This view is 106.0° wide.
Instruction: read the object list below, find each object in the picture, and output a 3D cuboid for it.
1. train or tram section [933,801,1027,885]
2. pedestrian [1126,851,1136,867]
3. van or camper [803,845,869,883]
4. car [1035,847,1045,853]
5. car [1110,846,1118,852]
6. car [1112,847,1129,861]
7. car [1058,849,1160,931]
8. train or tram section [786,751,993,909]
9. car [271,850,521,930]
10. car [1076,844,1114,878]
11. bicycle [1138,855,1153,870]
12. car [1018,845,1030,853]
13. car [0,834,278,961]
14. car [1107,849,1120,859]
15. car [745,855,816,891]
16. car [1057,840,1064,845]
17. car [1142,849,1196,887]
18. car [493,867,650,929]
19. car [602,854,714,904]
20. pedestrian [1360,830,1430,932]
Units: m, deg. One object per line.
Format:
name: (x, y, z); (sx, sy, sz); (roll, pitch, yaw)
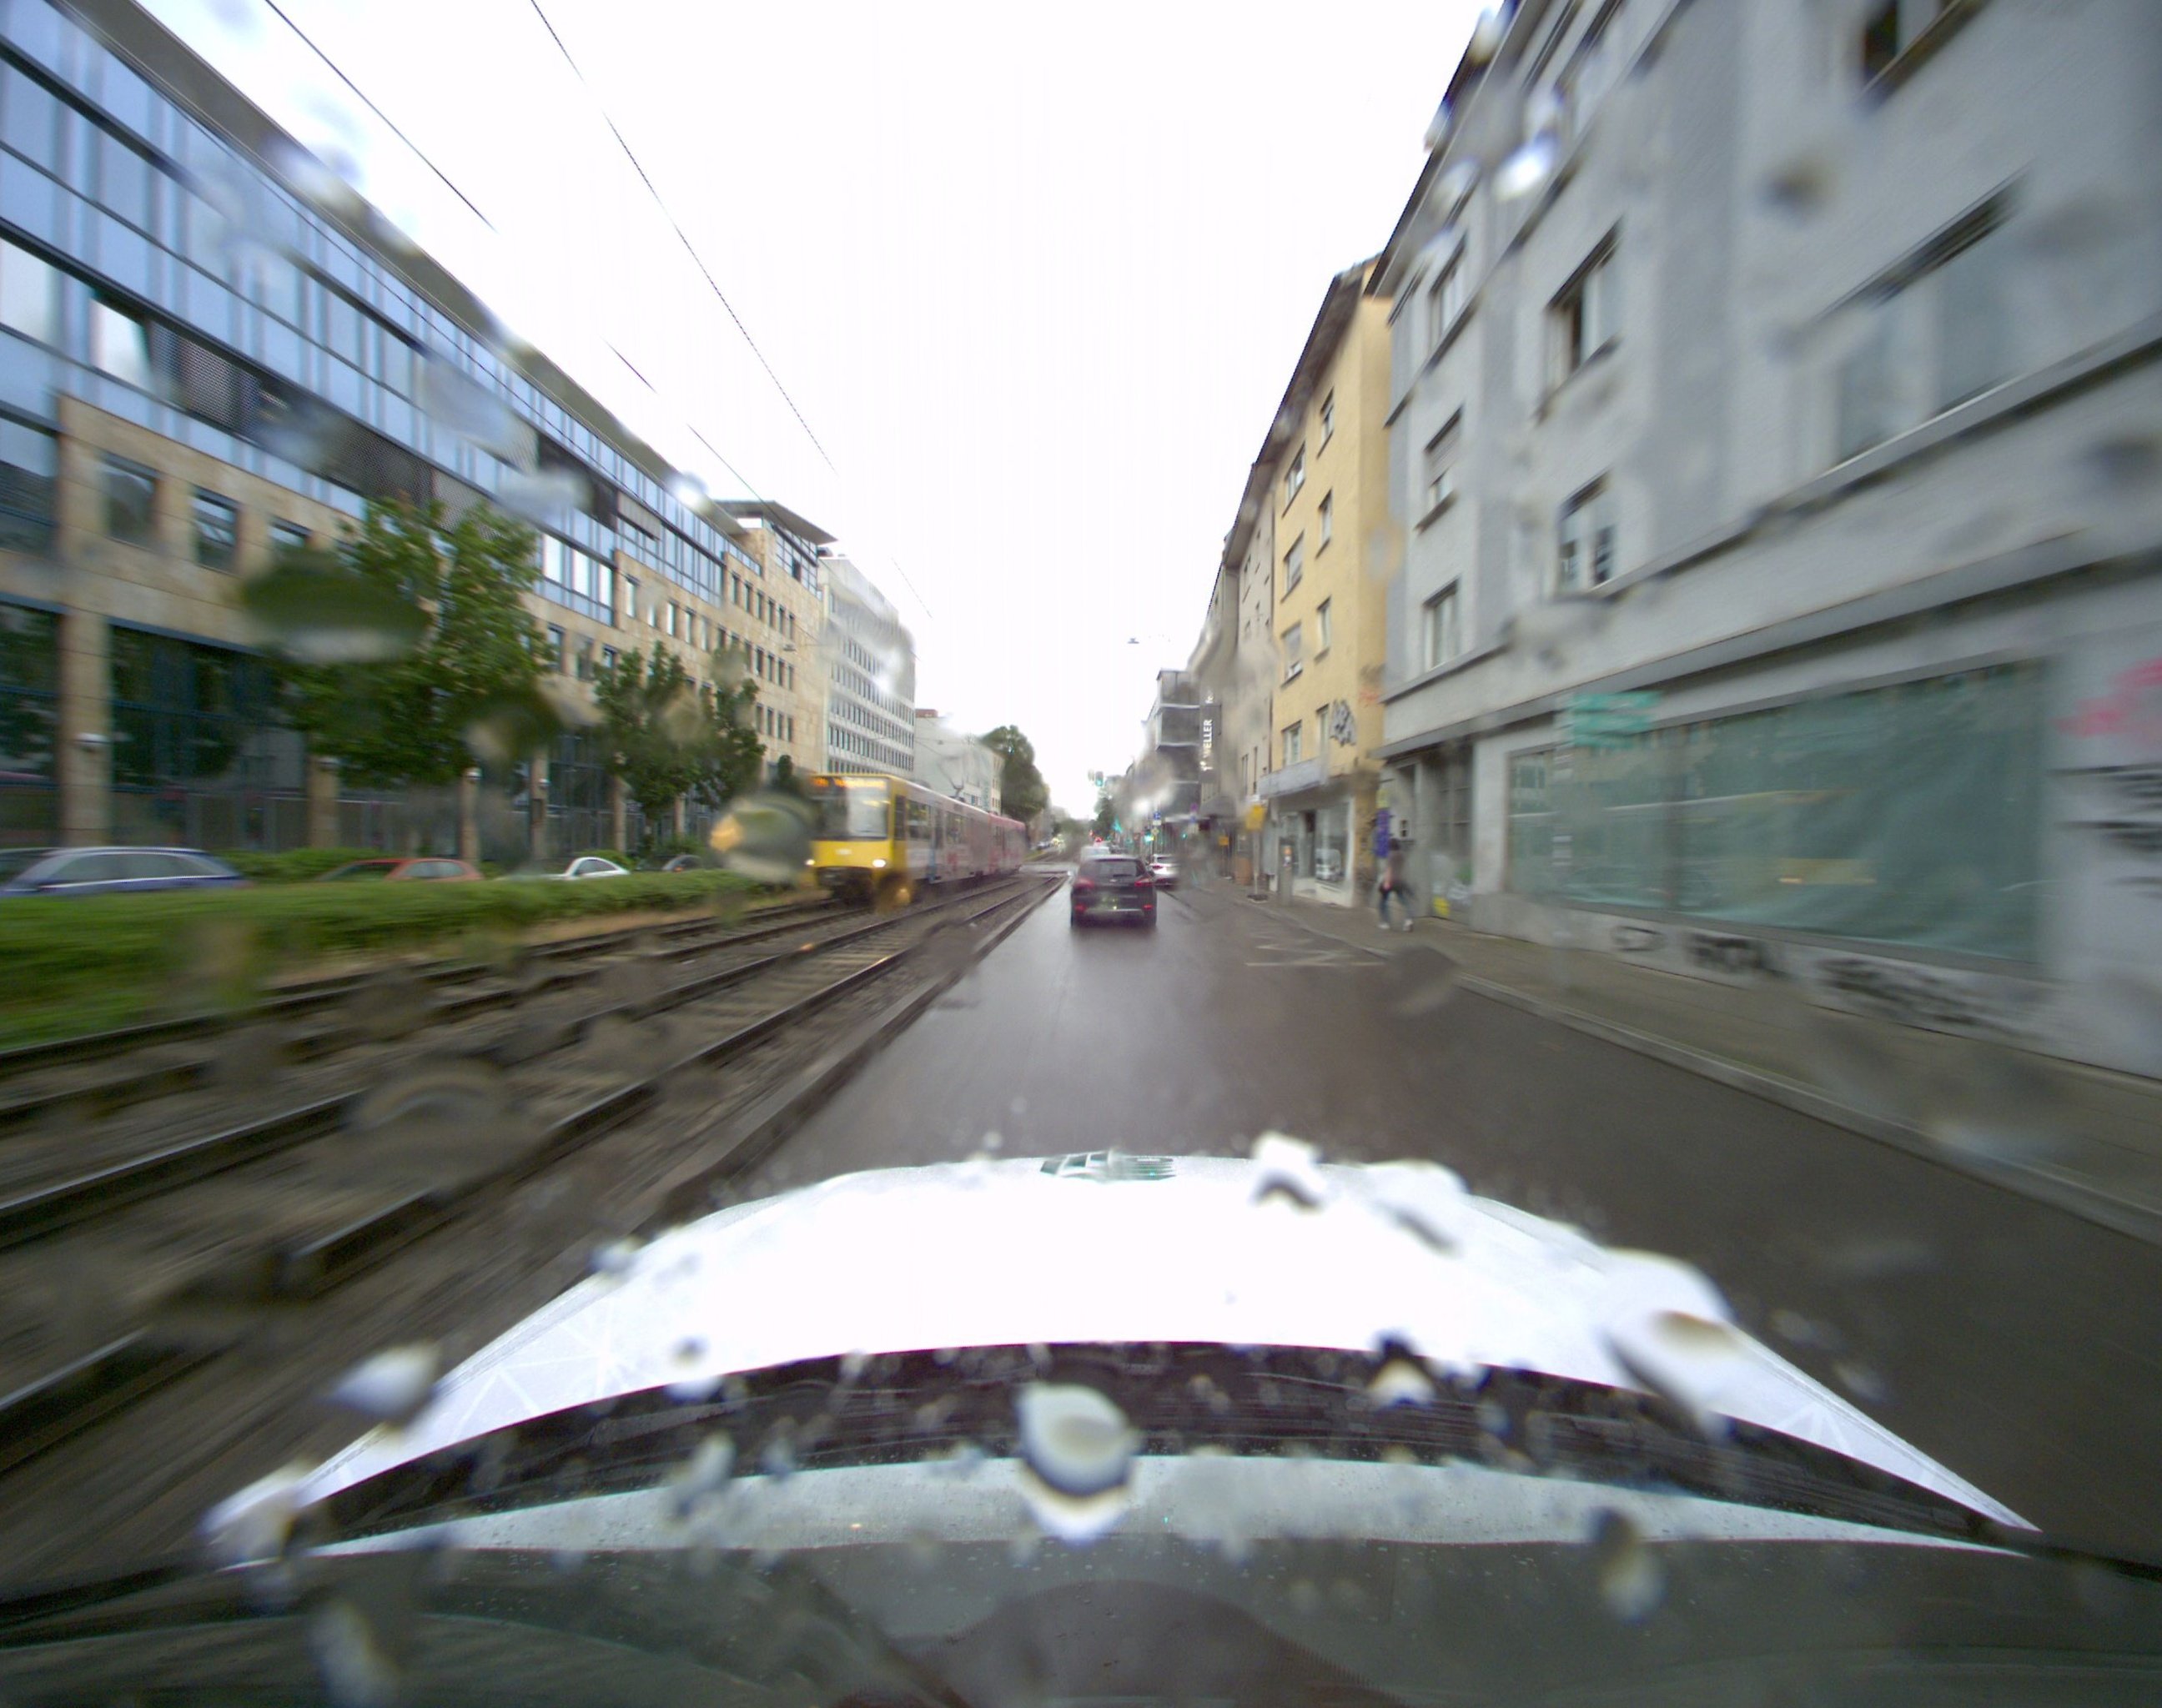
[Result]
train or tram section: (-5.507, -0.474, 48.675); (2.891, 4.050, 18.771); (0, 0, 1)
pedestrian: (4.907, 0.492, 80.134); (0.662, 1.582, 0.774); (0, 0, -21)
van or camper: (-13.646, 0.531, 45.759); (2.009, 1.997, 5.199); (0, -1, 1)
car: (-9.334, -0.916, 184.496); (1.986, 1.519, 4.436); (1, 1, 1)
car: (7.878, -1.235, 193.223); (1.733, 1.489, 4.001); (0, 1, 0)
car: (4.766, -0.032, 98.366); (1.986, 1.594, 4.273); (0, 0, 2)
car: (0.621, 0.697, 18.116); (1.986, 1.594, 4.273); (0, 0, 2)
train or tram section: (-5.920, -0.564, 30.098); (2.891, 4.050, 18.415); (0, 0, 1)
car: (-14.367, 0.665, 17.475); (1.643, 1.498, 4.294); (0, 0, 2)
car: (0.832, 0.370, 45.961); (1.985, 1.816, 4.274); (0, 0, 3)
bicycle: (5.736, 0.731, 72.653); (0.499, 1.259, 1.941); (1, 0, -23)
car: (-10.628, -0.986, 152.358); (1.737, 1.468, 4.221); (-1, 1, 1)
car: (-14.386, 0.548, 11.552); (1.643, 1.601, 4.294); (0, 0, 2)
car: (5.114, -0.019, 130.042); (1.986, 1.594, 4.573); (0, 0, 2)
car: (-13.835, 0.816, 37.760); (1.683, 1.486, 4.255); (0, 1, 0)
car: (-6.457, -3.570, 258.495); (1.986, 1.519, 4.445); (1, -1, 1)
car: (3.854, 0.583, 36.255); (2.016, 1.594, 4.623); (0, 0, 2)
car: (-14.074, 1.145, 22.809); (1.643, 1.498, 4.194); (0, 0, 2)
car: (-14.182, 0.796, 27.552); (1.683, 1.486, 4.000); (0, 1, 0)
pedestrian: (5.459, 0.460, 14.202); (0.788, 1.659, 0.721); (-6, 0, 0)
